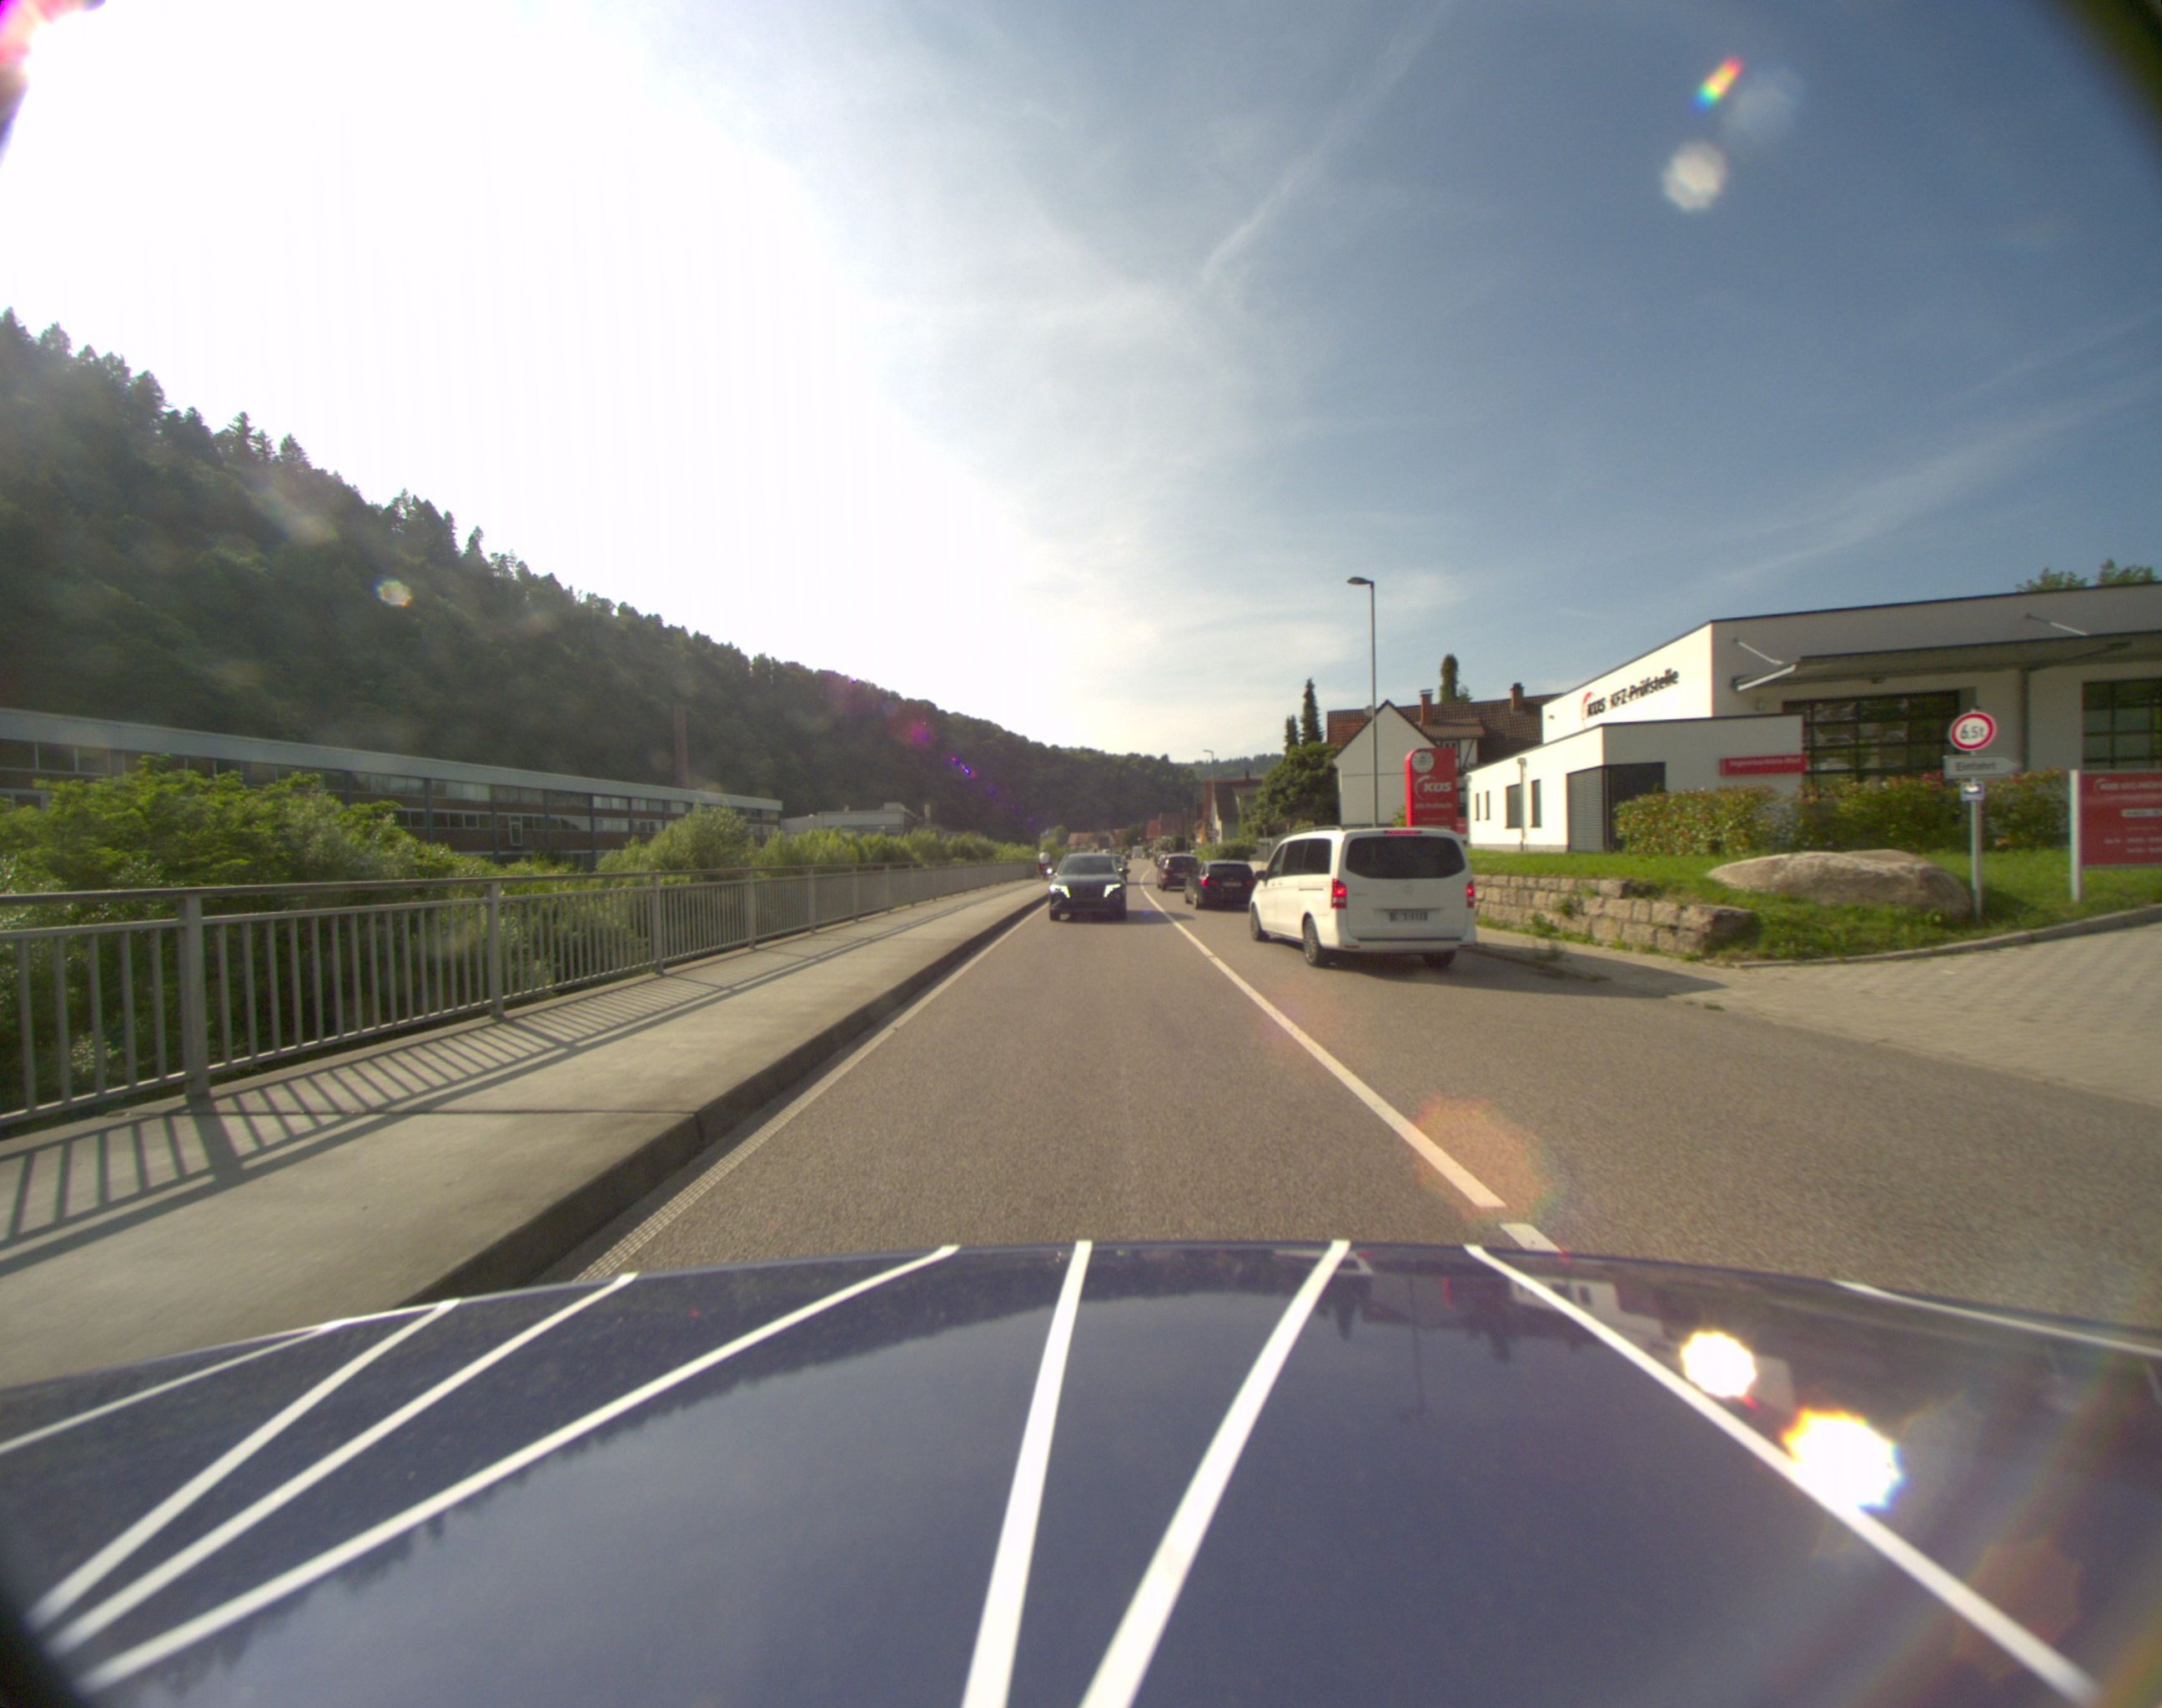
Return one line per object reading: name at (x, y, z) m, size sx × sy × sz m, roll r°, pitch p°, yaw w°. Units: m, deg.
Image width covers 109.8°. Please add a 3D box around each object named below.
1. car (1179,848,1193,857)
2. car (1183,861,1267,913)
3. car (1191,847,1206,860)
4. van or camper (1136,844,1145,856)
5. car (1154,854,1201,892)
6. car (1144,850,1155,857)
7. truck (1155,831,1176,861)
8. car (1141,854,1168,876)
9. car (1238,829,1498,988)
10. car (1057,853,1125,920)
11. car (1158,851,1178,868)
car at (17.612, -0.278, 127.475) m, size 1.889 × 1.510 × 4.236 m, roll -3°, pitch 0°, yaw 1°
car at (4.191, 0.903, 22.766) m, size 1.777 × 1.390 × 4.234 m, roll 0°, pitch 0°, yaw 1°
car at (15.923, -0.120, 102.729) m, size 1.904 × 1.655 × 4.269 m, roll -3°, pitch 1°, yaw 9°
van or camper at (14.715, -0.985, 187.896) m, size 2.200 × 2.921 × 7.129 m, roll -3°, pitch 0°, yaw 5°
car at (4.326, 0.816, 34.519) m, size 1.801 × 1.608 × 4.463 m, roll 0°, pitch 0°, yaw 3°
car at (15.078, -0.154, 167.850) m, size 1.632 × 1.476 × 4.004 m, roll -4°, pitch 1°, yaw 16°
truck at (11.653, -1.056, 105.577) m, size 2.584 × 3.909 × 11.308 m, roll -1°, pitch 1°, yaw 5°
car at (5.381, 0.765, 56.096) m, size 1.748 × 1.517 × 4.001 m, roll -1°, pitch 0°, yaw 3°
car at (3.941, 0.649, 11.634) m, size 1.901 × 1.876 × 5.295 m, roll 0°, pitch 0°, yaw -1°
car at (0.183, 0.810, 20.912) m, size 1.649 × 1.639 × 3.999 m, roll -1°, pitch 0°, yaw -2°
car at (8.684, 0.559, 76.164) m, size 1.753 × 1.495 × 4.191 m, roll -4°, pitch 0°, yaw 4°
